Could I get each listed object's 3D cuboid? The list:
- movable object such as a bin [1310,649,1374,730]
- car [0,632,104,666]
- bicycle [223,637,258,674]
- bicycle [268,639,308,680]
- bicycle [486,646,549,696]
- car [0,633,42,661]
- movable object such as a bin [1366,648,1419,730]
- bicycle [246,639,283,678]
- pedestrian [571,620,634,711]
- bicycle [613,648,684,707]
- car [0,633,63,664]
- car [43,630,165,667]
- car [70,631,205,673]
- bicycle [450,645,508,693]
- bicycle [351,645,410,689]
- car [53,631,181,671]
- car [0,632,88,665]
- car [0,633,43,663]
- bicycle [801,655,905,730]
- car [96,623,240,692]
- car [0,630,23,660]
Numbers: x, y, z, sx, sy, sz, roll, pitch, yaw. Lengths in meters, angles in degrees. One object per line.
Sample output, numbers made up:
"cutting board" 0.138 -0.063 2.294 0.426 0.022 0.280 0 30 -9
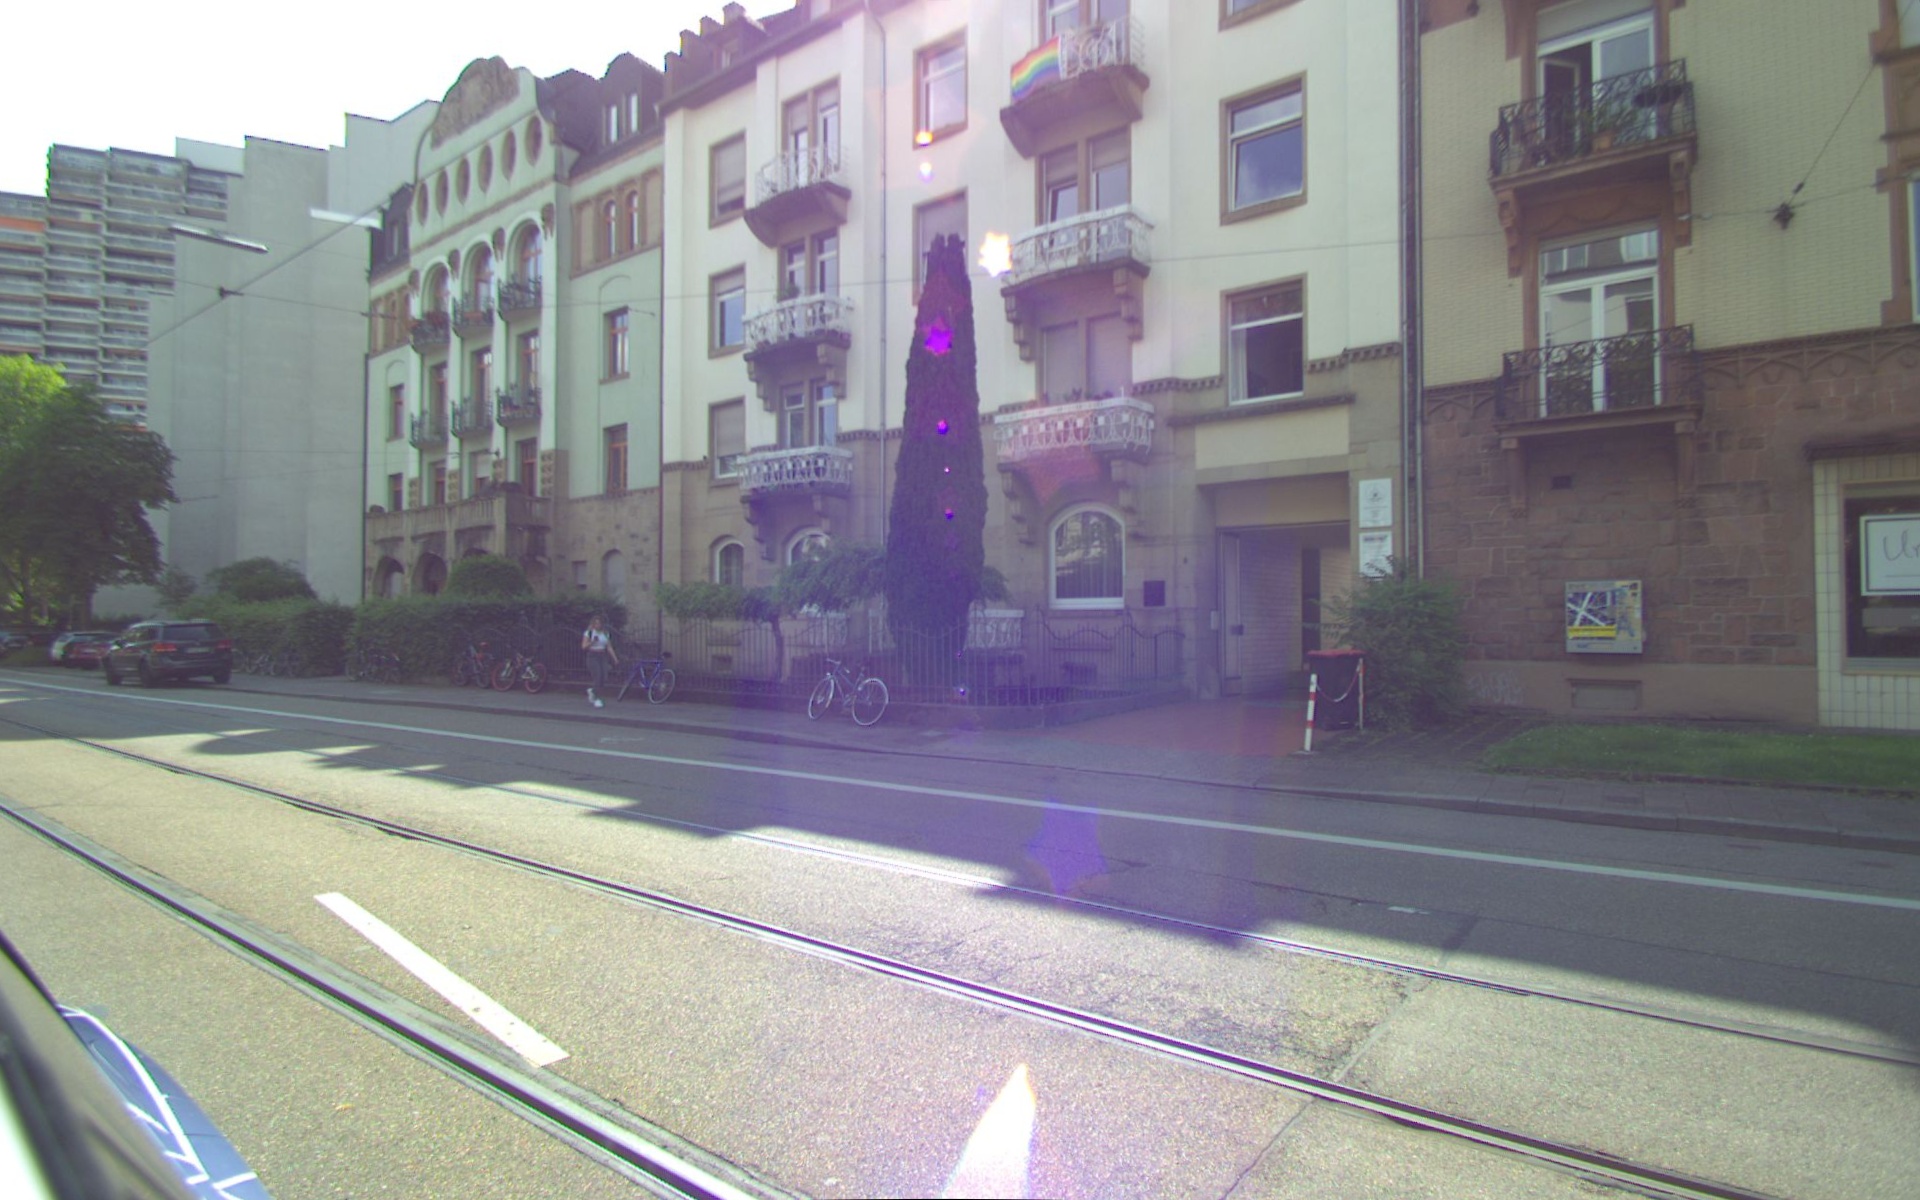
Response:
"movable object such as a bin" 5.042 1.170 13.374 0.697 1.037 0.475 -1 -2 11
"car" -42.404 2.259 47.003 3.938 1.519 2.002 1 -2 -42
"bicycle" -22.653 1.738 31.846 1.785 1.144 0.462 -2 -2 40
"bicycle" -19.483 1.720 29.341 1.785 1.144 0.462 -2 -2 40
"bicycle" -9.264 1.467 21.160 1.785 1.003 0.462 -2 -2 40
"car" -52.390 2.540 54.760 3.938 1.519 2.002 1 -2 -42
"movable object such as a bin" 5.687 1.162 13.327 0.531 1.037 0.475 -1 -2 11
"bicycle" -21.004 1.740 30.549 1.785 1.144 0.462 -2 -2 40
"pedestrian" -6.300 1.129 17.855 0.764 1.553 0.749 -2 -2 39
"bicycle" -5.690 1.388 18.448 0.461 1.003 1.788 2 -2 -44
"car" -47.526 2.432 50.654 3.938 1.519 2.002 1 -2 -42
"car" -37.106 2.051 43.915 3.938 1.519 2.002 1 -2 -42
"car" -31.836 1.970 39.225 3.938 1.519 2.002 1 -2 -42
"bicycle" -10.675 1.503 22.430 1.785 1.003 0.462 -2 -2 40
"bicycle" -14.139 1.612 24.656 1.979 1.003 0.597 -2 -2 40
"car" -34.509 2.055 41.491 3.938 1.519 2.002 1 -2 -42
"car" -44.851 2.338 48.992 3.938 1.519 2.002 1 -2 -42
"car" -50.210 2.466 52.447 3.938 1.519 2.002 1 -2 -42
"bicycle" -1.631 1.351 15.128 0.461 1.003 1.980 1 -2 -43
"car" -21.230 1.481 27.070 4.393 1.708 1.899 -1 -2 36
"car" -55.282 2.524 56.719 3.938 1.695 2.002 1 -2 -42
